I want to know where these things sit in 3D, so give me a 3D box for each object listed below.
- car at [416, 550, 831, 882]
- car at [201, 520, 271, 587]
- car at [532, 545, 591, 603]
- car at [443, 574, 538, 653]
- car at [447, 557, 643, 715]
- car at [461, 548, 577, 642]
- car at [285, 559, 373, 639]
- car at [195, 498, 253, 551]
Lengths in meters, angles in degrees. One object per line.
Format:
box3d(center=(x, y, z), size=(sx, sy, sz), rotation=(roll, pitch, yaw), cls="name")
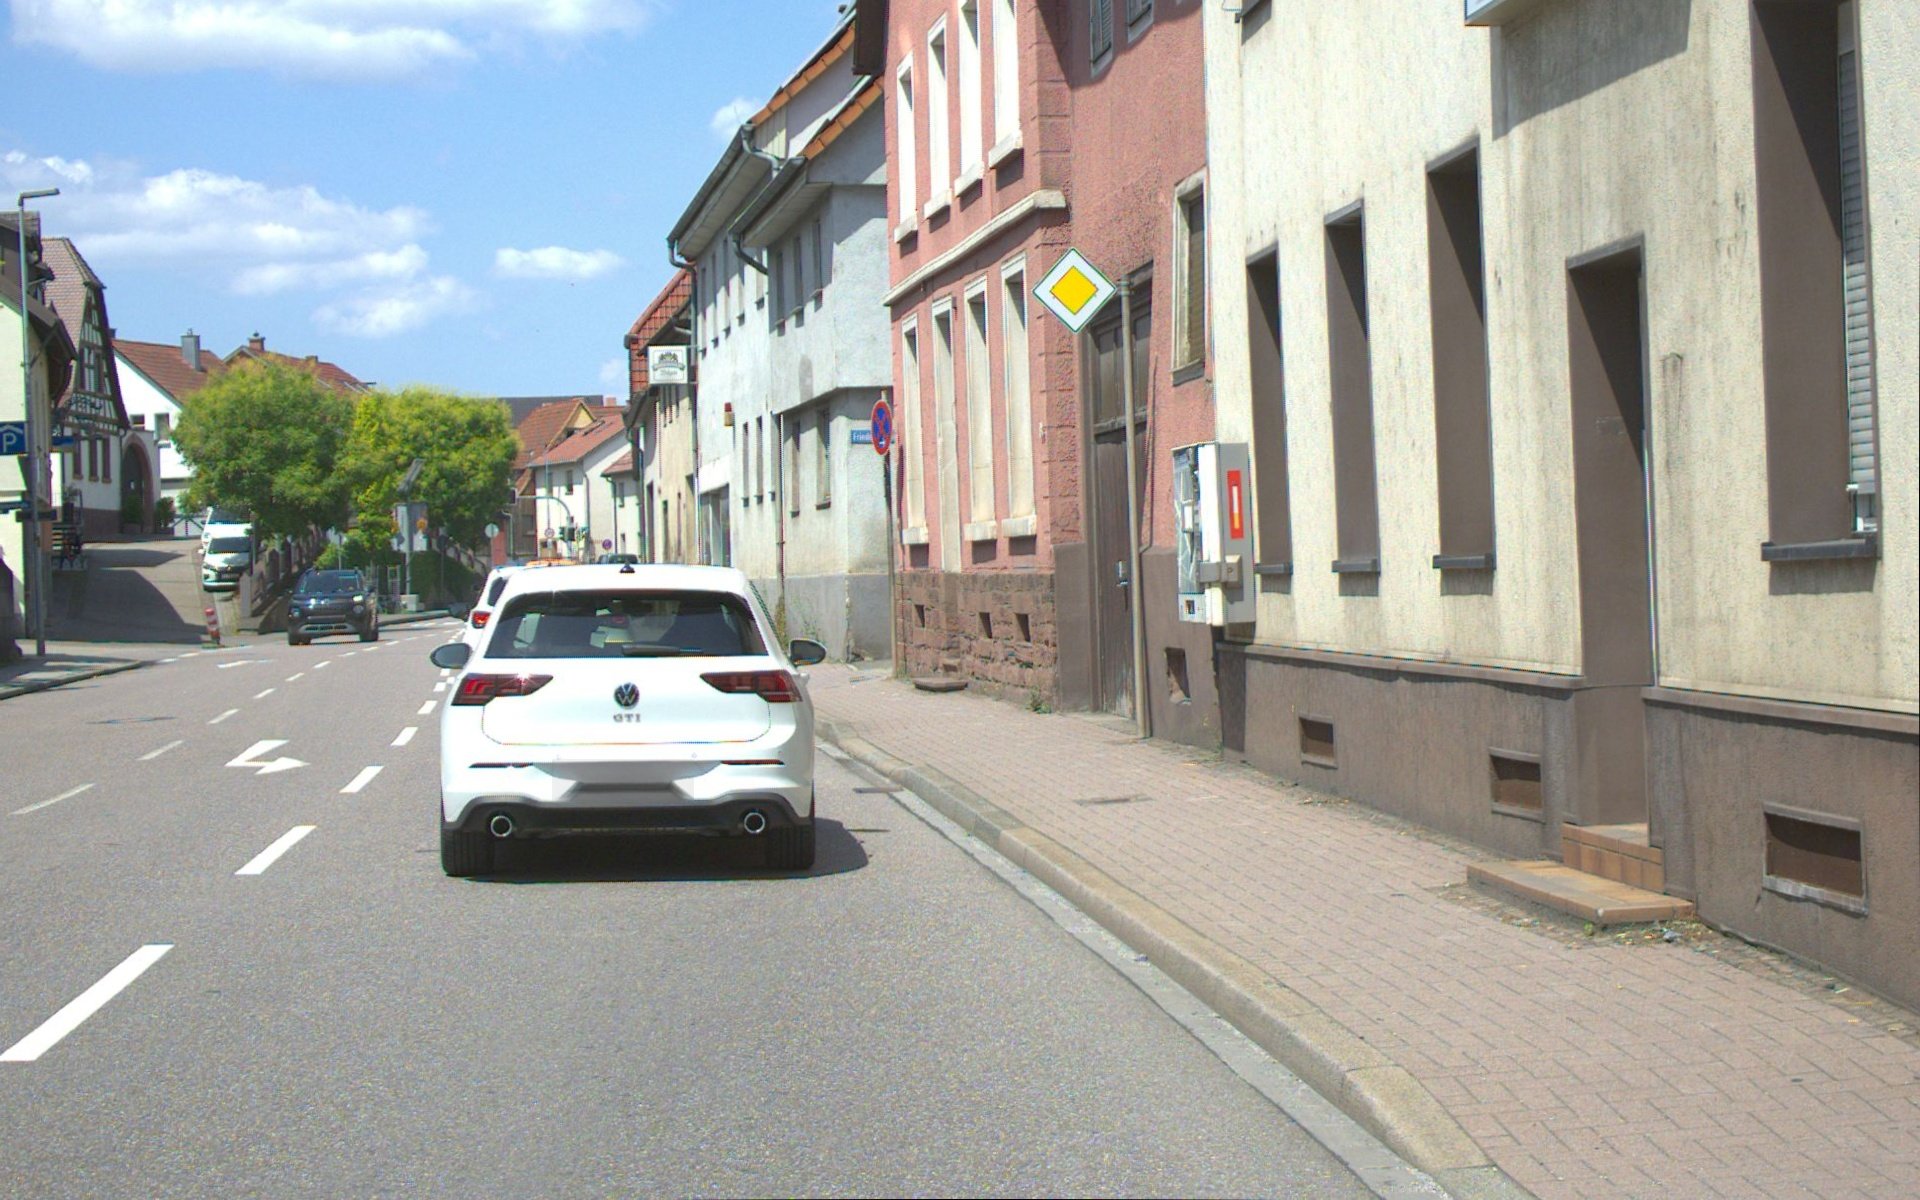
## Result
box3d(center=(-1.567, 0.509, 17.276), size=(1.807, 1.462, 4.000), rotation=(0, 0, -2), cls="car")
box3d(center=(-20.715, -1.356, 98.474), size=(1.693, 1.537, 3.858), rotation=(-1, 6, -8), cls="car")
box3d(center=(-12.560, -0.824, 108.389), size=(1.775, 1.759, 4.001), rotation=(-1, 1, -7), cls="car")
box3d(center=(-9.695, 0.253, 71.184), size=(1.775, 1.533, 4.001), rotation=(-1, 1, -6), cls="car")
box3d(center=(-4.117, 0.330, 34.021), size=(1.807, 1.462, 4.001), rotation=(0, 0, -7), cls="car")
box3d(center=(-7.245, -0.086, 56.258), size=(1.807, 1.462, 4.001), rotation=(0, 0, -8), cls="car")
box3d(center=(-13.633, -0.042, 74.419), size=(1.669, 1.652, 4.018), rotation=(-1, 1, -8), cls="car")
box3d(center=(-23.626, -2.447, 110.457), size=(1.576, 1.357, 3.858), rotation=(-1, 6, -8), cls="car")
